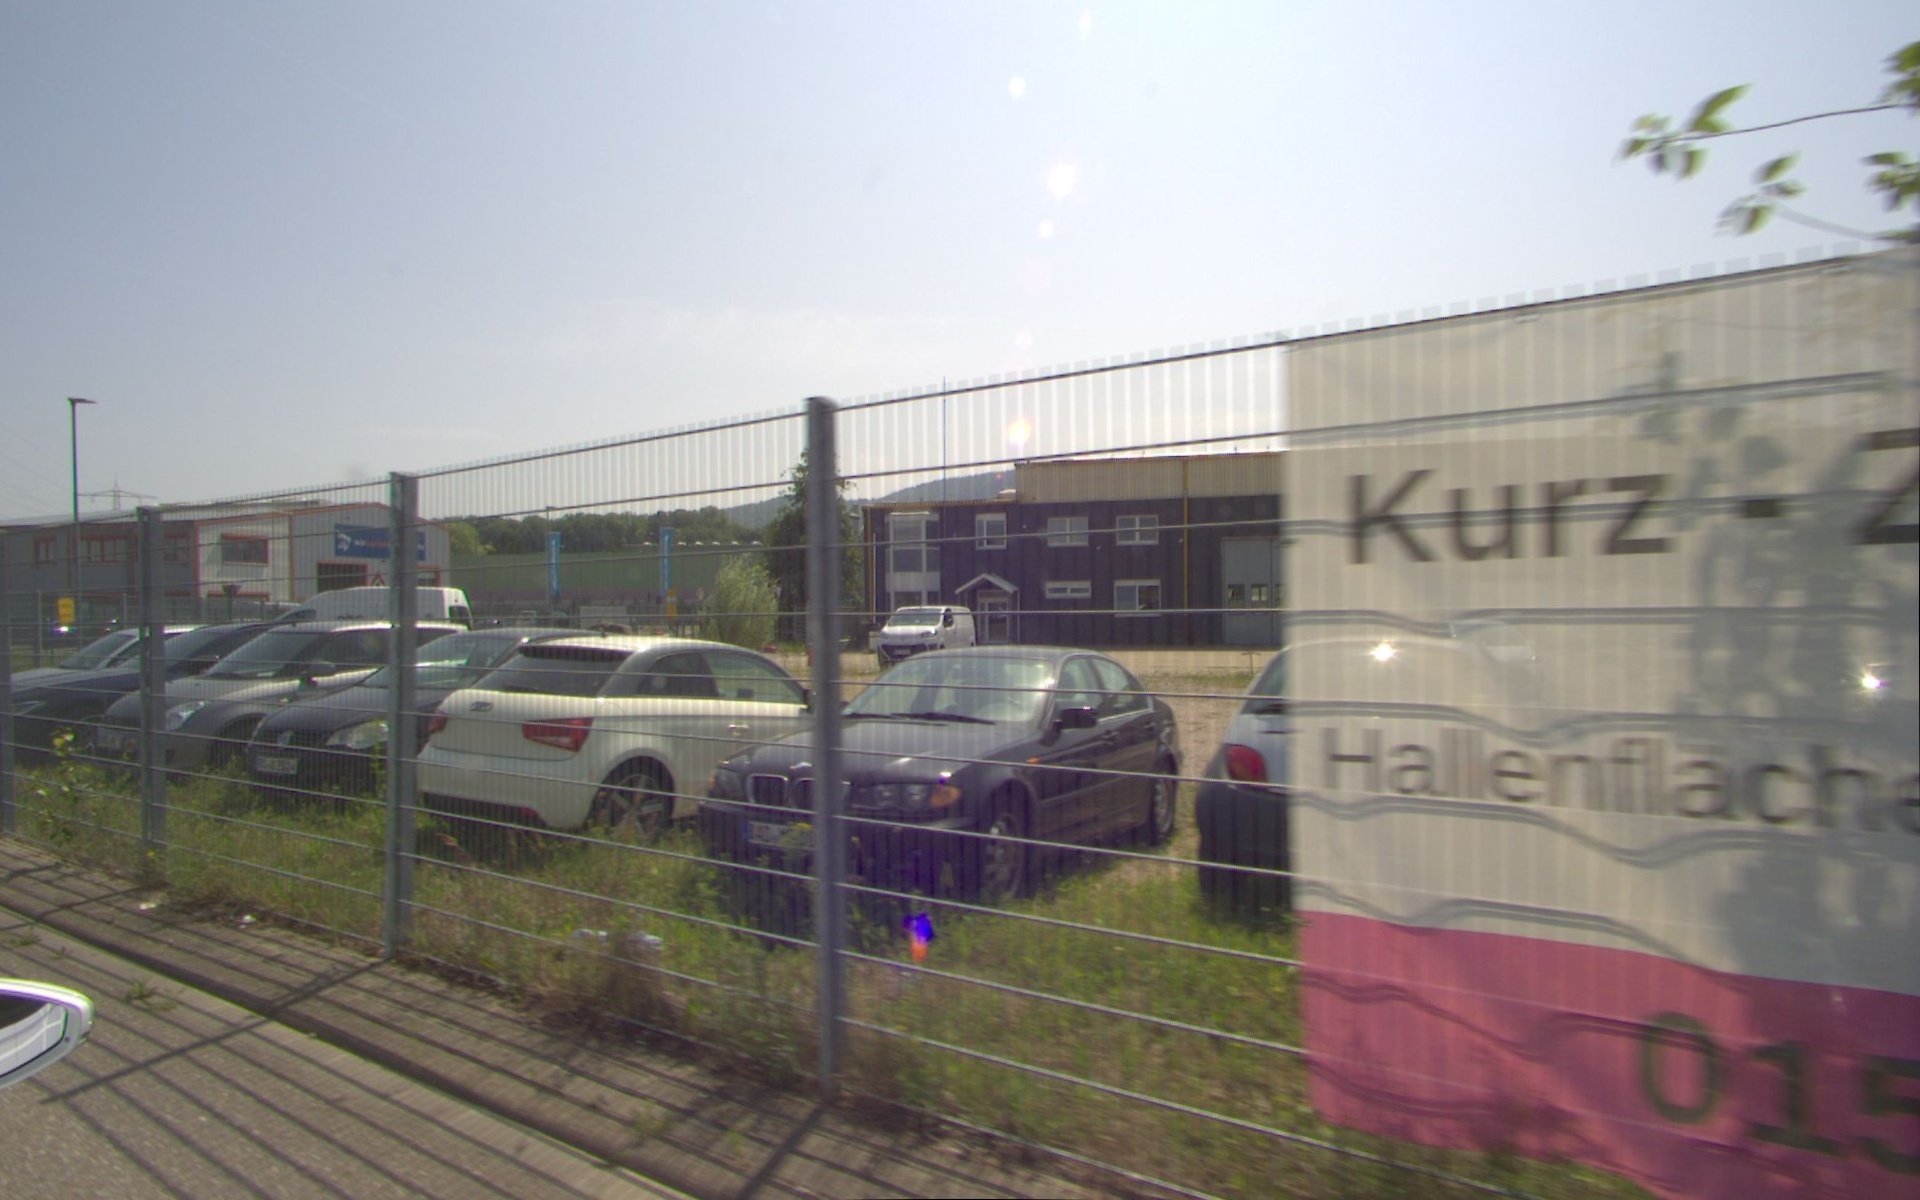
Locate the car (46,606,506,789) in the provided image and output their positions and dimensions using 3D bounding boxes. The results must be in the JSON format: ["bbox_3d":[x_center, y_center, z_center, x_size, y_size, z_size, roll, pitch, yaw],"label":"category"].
[{"bbox_3d":[-6.775,0.828,10.295,1.685,1.522,3.535,0,0,29],"label":"car"}]

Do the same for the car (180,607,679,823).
[{"bbox_3d":[-4.430,0.856,8.968,1.724,1.496,3.650,-2,-2,24],"label":"car"}]

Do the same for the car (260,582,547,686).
[{"bbox_3d":[-12.271,0.717,22.435,5.242,2.177,1.906,0,0,-9],"label":"car"}]

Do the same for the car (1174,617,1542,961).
[{"bbox_3d":[2.428,0.793,5.833,1.504,1.371,3.266,0,-1,28],"label":"car"}]

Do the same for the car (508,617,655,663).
[{"bbox_3d":[-11.396,1.183,30.401,3.854,1.294,1.906,0,0,-9],"label":"car"}]

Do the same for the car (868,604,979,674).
[{"bbox_3d":[-0.998,1.112,30.514,1.824,1.924,5.069,0,0,17],"label":"car"}]

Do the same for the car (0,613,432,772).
[{"bbox_3d":[-8.886,0.915,11.709,1.799,1.494,4.527,0,0,33],"label":"car"}]

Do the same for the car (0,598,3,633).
[{"bbox_3d":[-55.240,0.867,54.741,1.789,2.005,3.904,0,0,12],"label":"car"}]

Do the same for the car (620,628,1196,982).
[{"bbox_3d":[0.080,0.898,6.321,1.697,1.371,4.179,0,-1,29],"label":"car"}]

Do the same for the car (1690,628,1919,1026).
[{"bbox_3d":[4.811,0.941,4.757,1.714,1.371,3.661,3,-2,30],"label":"car"}]

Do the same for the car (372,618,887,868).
[{"bbox_3d":[-2.211,0.962,7.616,1.612,1.405,3.524,0,-5,29],"label":"car"}]

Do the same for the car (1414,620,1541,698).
[{"bbox_3d":[10.715,1.159,20.975,1.507,1.454,3.664,0,0,13],"label":"car"}]
